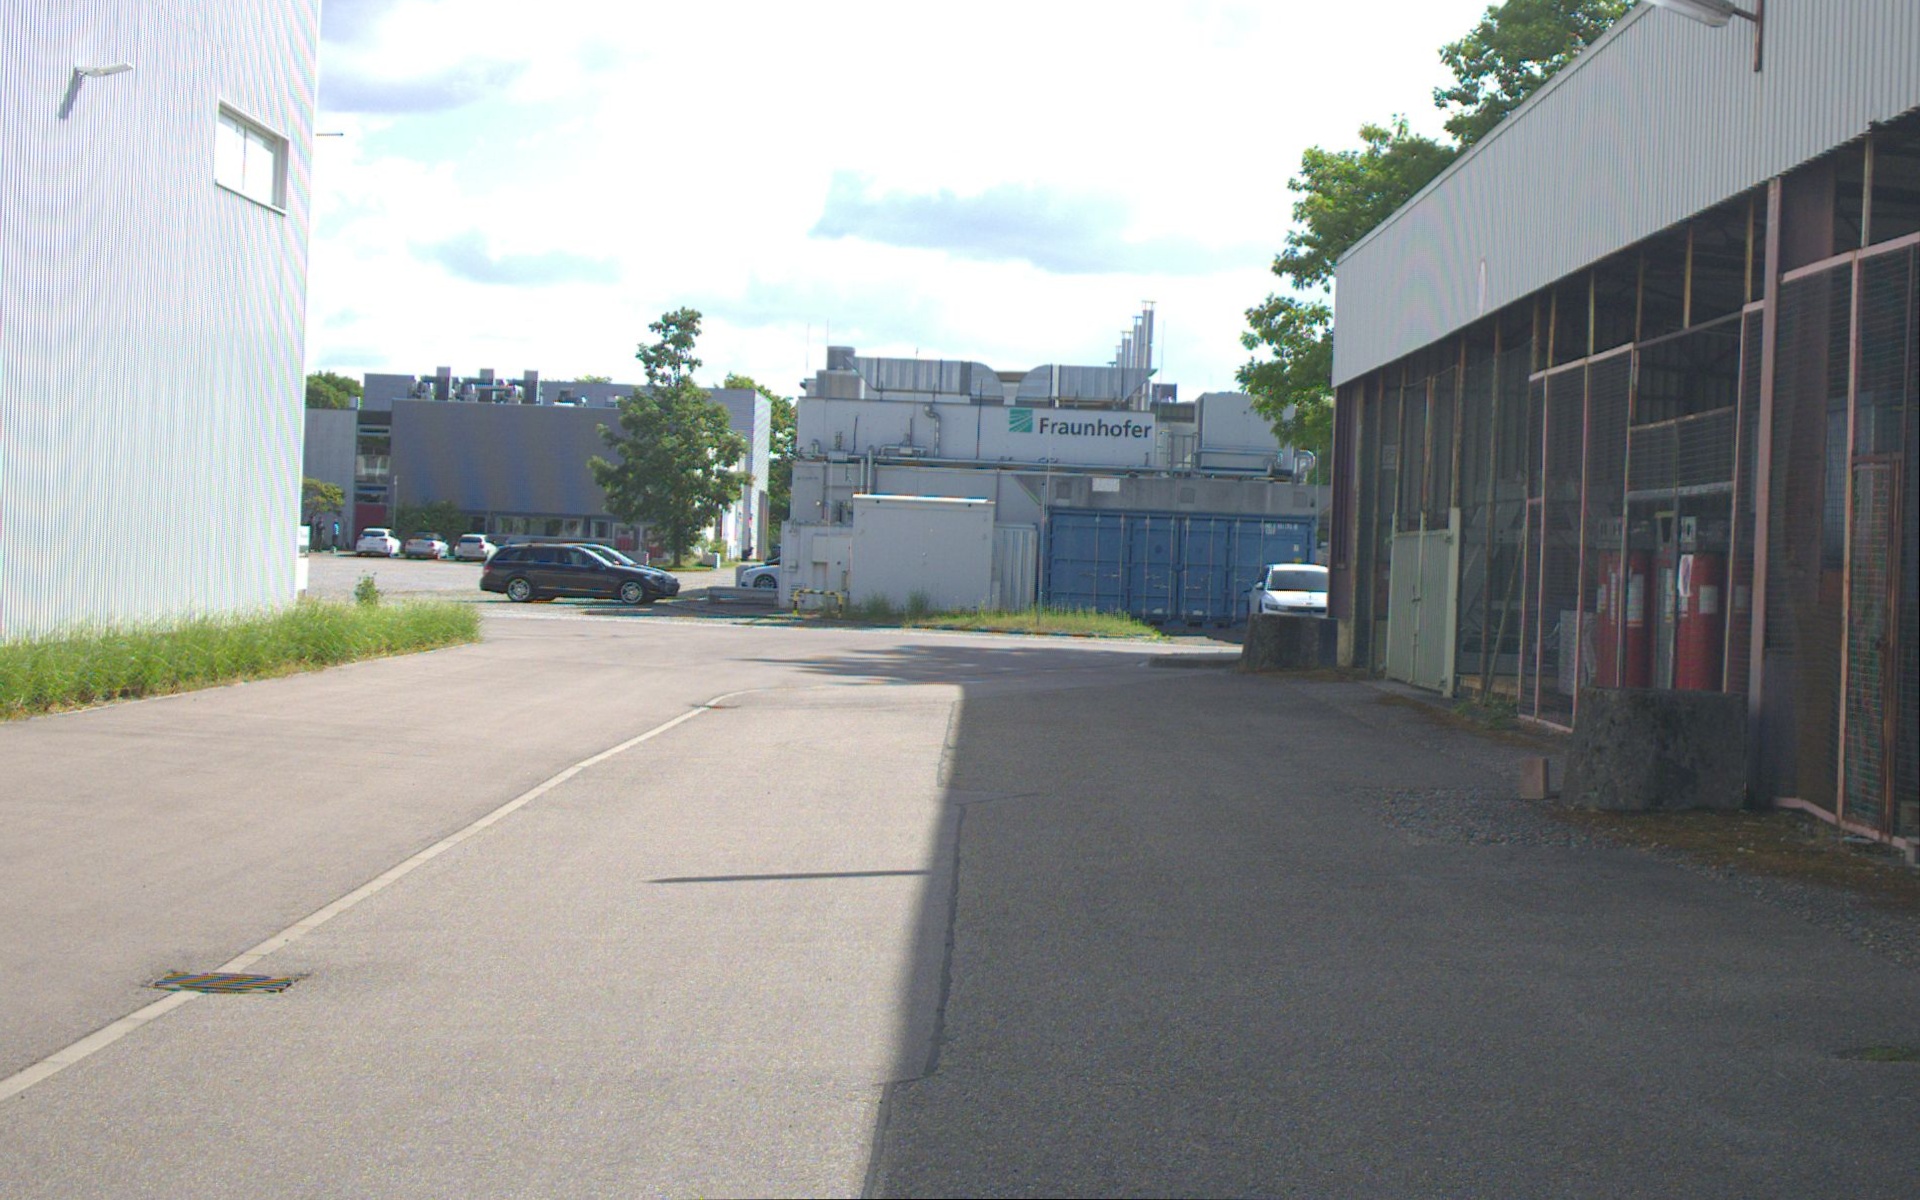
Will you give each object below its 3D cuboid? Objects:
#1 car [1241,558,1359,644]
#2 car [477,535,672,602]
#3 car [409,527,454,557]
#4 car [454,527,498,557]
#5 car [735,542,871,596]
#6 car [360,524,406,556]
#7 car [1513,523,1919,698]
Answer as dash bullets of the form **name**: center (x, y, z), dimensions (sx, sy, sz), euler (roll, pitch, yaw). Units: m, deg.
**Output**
- **car**: center (7.118, -0.004, 72.405), dimensions (1.981, 1.588, 4.341), euler (3, 2, 0)
- **car**: center (-9.524, -0.776, 85.146), dimensions (4.529, 1.438, 1.987), euler (2, -1, 1)
- **car**: center (-27.993, -3.068, 182.105), dimensions (1.877, 1.532, 4.036), euler (1, 0, -2)
- **car**: center (-25.664, -3.044, 182.306), dimensions (1.877, 1.532, 4.036), euler (1, 0, -2)
- **car**: center (-5.132, -1.021, 112.854), dimensions (4.279, 1.564, 1.987), euler (2, -1, 1)
- **car**: center (-30.558, -3.173, 182.278), dimensions (1.877, 1.684, 4.036), euler (1, 0, -2)
- **car**: center (9.587, 0.134, 41.913), dimensions (5.164, 1.912, 2.279), euler (2, 0, -5)
